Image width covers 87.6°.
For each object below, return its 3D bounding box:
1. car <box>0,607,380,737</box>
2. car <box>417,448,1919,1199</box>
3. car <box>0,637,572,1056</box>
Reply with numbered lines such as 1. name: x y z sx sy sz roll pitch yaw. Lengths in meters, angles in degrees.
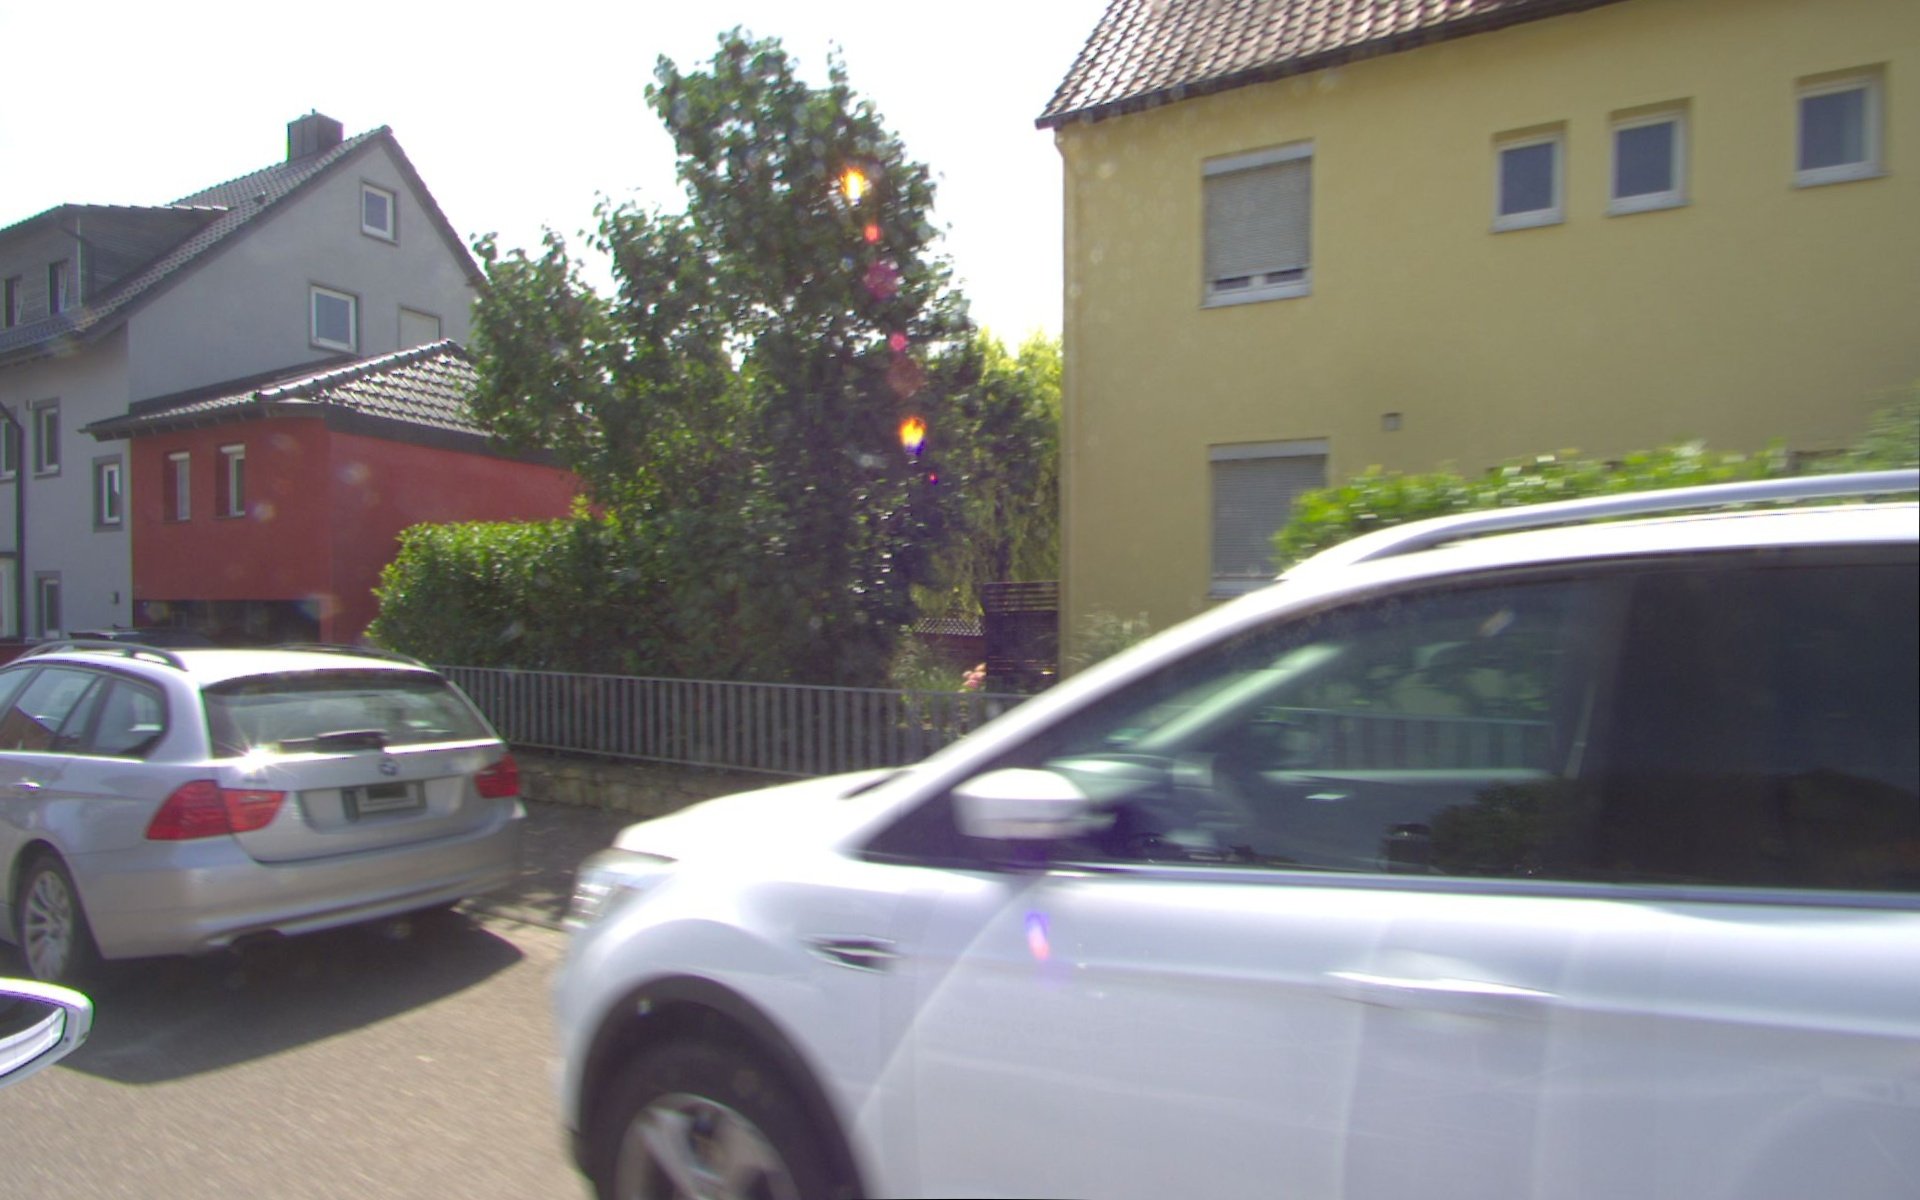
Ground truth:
1. car: -11.616 0.993 15.412 1.848 1.690 4.365 0 -1 28
2. car: 1.016 0.724 2.012 4.272 1.683 1.734 -1 -2 30
3. car: -4.291 0.934 5.339 4.353 1.438 1.751 -1 -3 29
